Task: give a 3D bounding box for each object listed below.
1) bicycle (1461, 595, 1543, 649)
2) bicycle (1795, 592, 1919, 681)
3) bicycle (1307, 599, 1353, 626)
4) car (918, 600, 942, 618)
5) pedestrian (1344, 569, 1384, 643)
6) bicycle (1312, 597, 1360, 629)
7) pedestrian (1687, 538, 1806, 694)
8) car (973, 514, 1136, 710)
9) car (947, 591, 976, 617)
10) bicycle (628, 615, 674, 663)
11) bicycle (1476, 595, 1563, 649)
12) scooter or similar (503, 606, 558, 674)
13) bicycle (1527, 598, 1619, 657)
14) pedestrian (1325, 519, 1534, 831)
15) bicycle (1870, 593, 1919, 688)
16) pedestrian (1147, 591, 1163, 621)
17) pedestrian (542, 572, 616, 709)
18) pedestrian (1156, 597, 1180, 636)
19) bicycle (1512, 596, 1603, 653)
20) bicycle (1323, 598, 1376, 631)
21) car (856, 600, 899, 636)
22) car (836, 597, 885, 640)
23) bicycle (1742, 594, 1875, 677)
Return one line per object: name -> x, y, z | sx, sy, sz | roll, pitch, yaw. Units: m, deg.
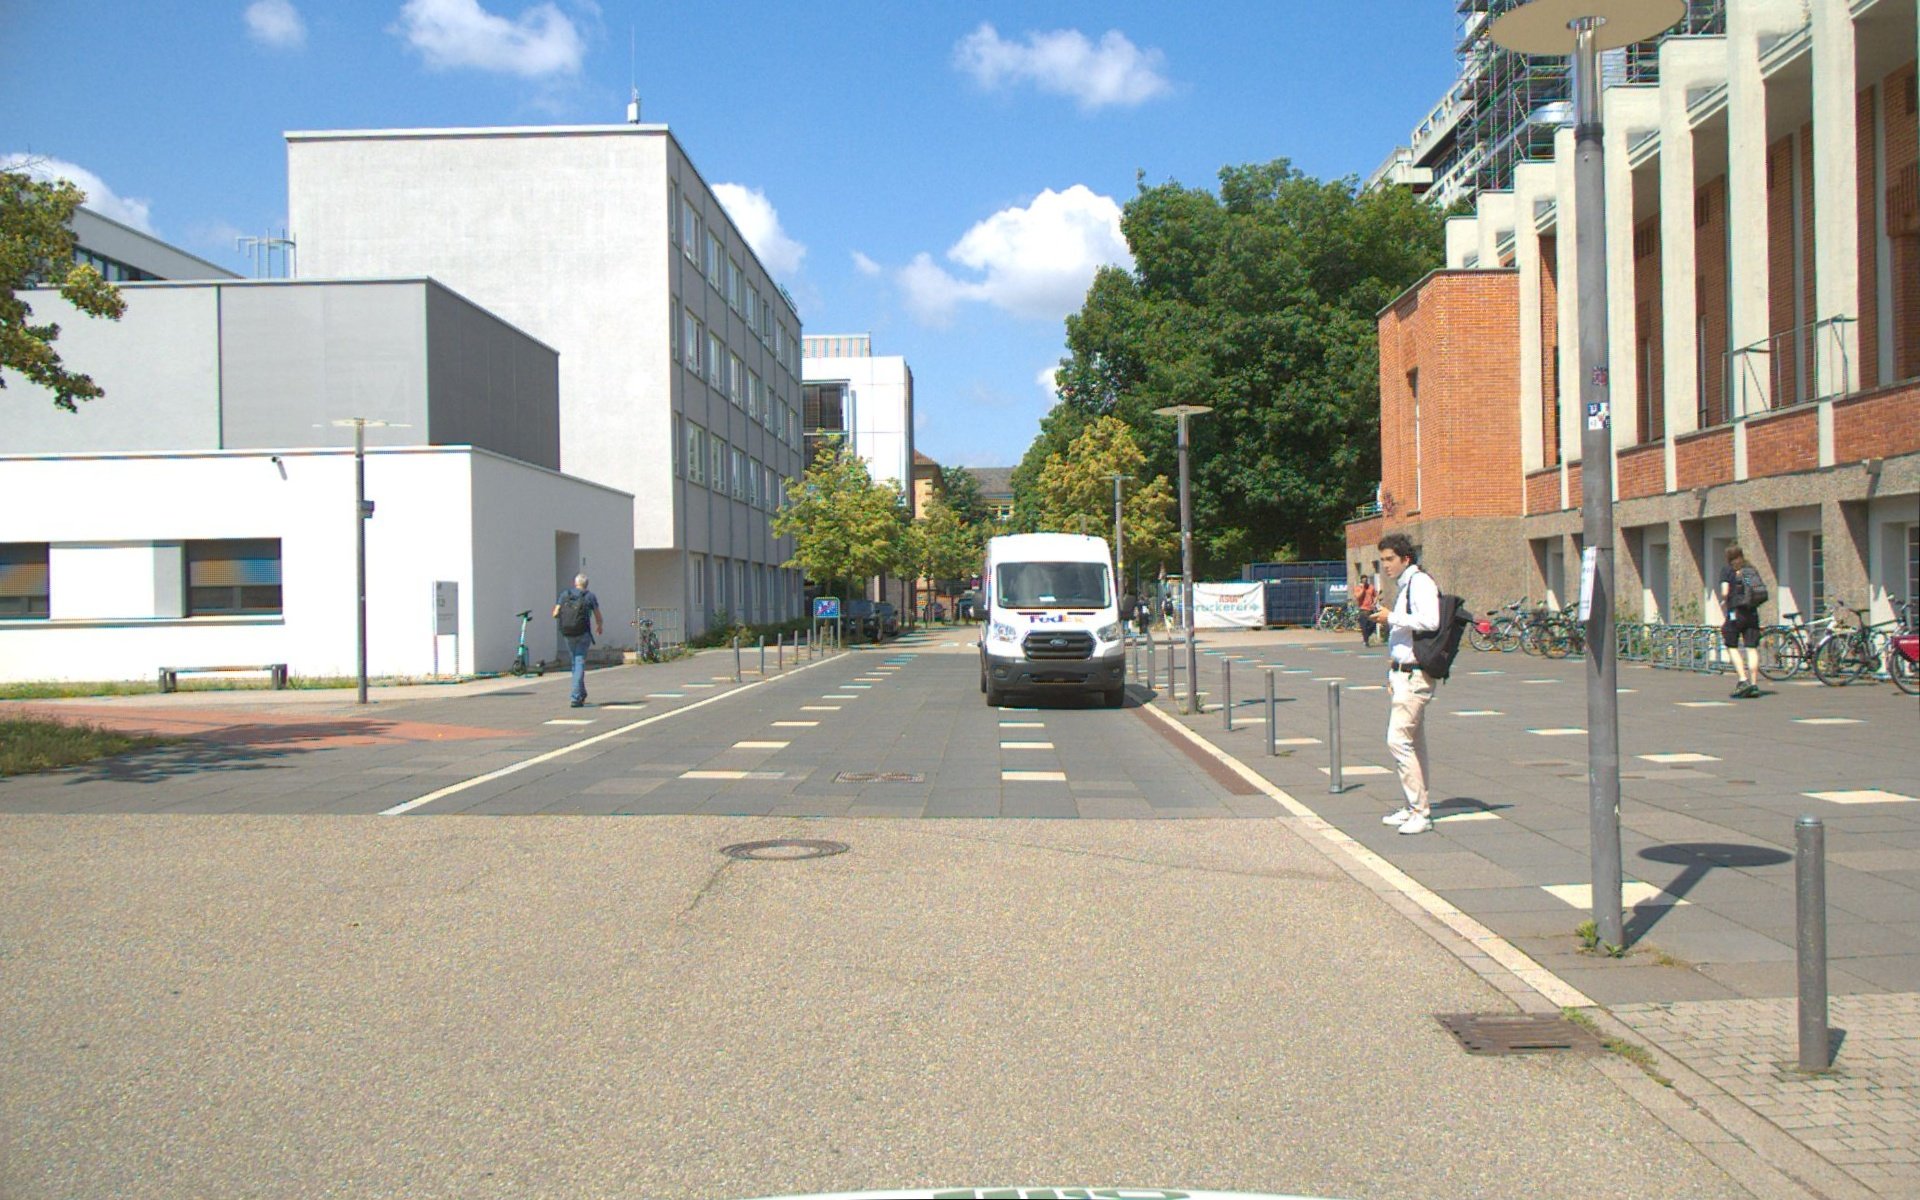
bicycle -> 12.336, 0.500, 37.664 | 1.717, 1.170, 0.435 | -1, 0, -1
bicycle -> 12.117, 0.478, 21.913 | 1.872, 1.129, 0.435 | -1, 0, -1
bicycle -> 14.120, 0.478, 63.127 | 1.637, 1.021, 0.448 | -1, 0, 1
car -> -2.281, 0.702, 127.745 | 1.780, 1.347, 3.767 | -1, 0, 0
pedestrian -> 10.417, 0.157, 42.675 | 0.652, 1.866, 0.903 | -1, 0, -14
bicycle -> 13.782, 0.472, 60.627 | 1.666, 1.129, 0.448 | -1, 0, 1
pedestrian -> 9.764, 0.195, 20.568 | 0.827, 1.866, 1.196 | -1, 0, -4
car -> 1.303, 0.161, 25.217 | 2.017, 2.588, 5.848 | -1, 0, -1
car -> 0.122, 0.324, 127.737 | 2.130, 1.959, 5.185 | -1, 0, -1
bicycle -> -7.324, 0.916, 39.252 | 0.532, 1.080, 1.900 | -1, 0, 6
bicycle -> 12.421, 0.484, 36.736 | 1.717, 1.170, 0.518 | -1, 0, -1
scooter or similar -> -8.297, 0.761, 31.990 | 0.472, 1.285, 1.314 | -1, 0, 13
bicycle -> 12.145, 0.539, 32.796 | 1.648, 1.129, 0.435 | -1, 0, -1
pedestrian -> 3.022, 0.461, 10.617 | 1.003, 1.880, 0.914 | -3, 0, 31
bicycle -> 12.061, 0.474, 20.100 | 1.760, 1.129, 0.435 | -1, 0, -1
pedestrian -> 11.621, 0.348, 98.721 | 0.737, 1.740, 0.557 | -1, -1, -35
pedestrian -> -5.307, 0.553, 23.088 | 0.807, 1.849, 1.143 | -1, 0, -4
pedestrian -> 7.210, 0.572, 57.318 | 0.682, 1.354, 0.715 | -1, 0, -3
bicycle -> 12.375, 0.498, 34.295 | 1.711, 1.129, 0.435 | -1, 0, -1
bicycle -> 13.824, 0.508, 58.718 | 1.768, 1.129, 0.448 | -1, 0, 1
car -> -3.565, 0.760, 72.057 | 1.742, 1.486, 4.258 | 0, 0, -1
car -> -3.817, 0.706, 63.940 | 1.662, 1.591, 4.067 | -1, 0, -1
bicycle -> 12.091, 0.499, 23.588 | 1.648, 1.129, 0.435 | -1, 0, -1
